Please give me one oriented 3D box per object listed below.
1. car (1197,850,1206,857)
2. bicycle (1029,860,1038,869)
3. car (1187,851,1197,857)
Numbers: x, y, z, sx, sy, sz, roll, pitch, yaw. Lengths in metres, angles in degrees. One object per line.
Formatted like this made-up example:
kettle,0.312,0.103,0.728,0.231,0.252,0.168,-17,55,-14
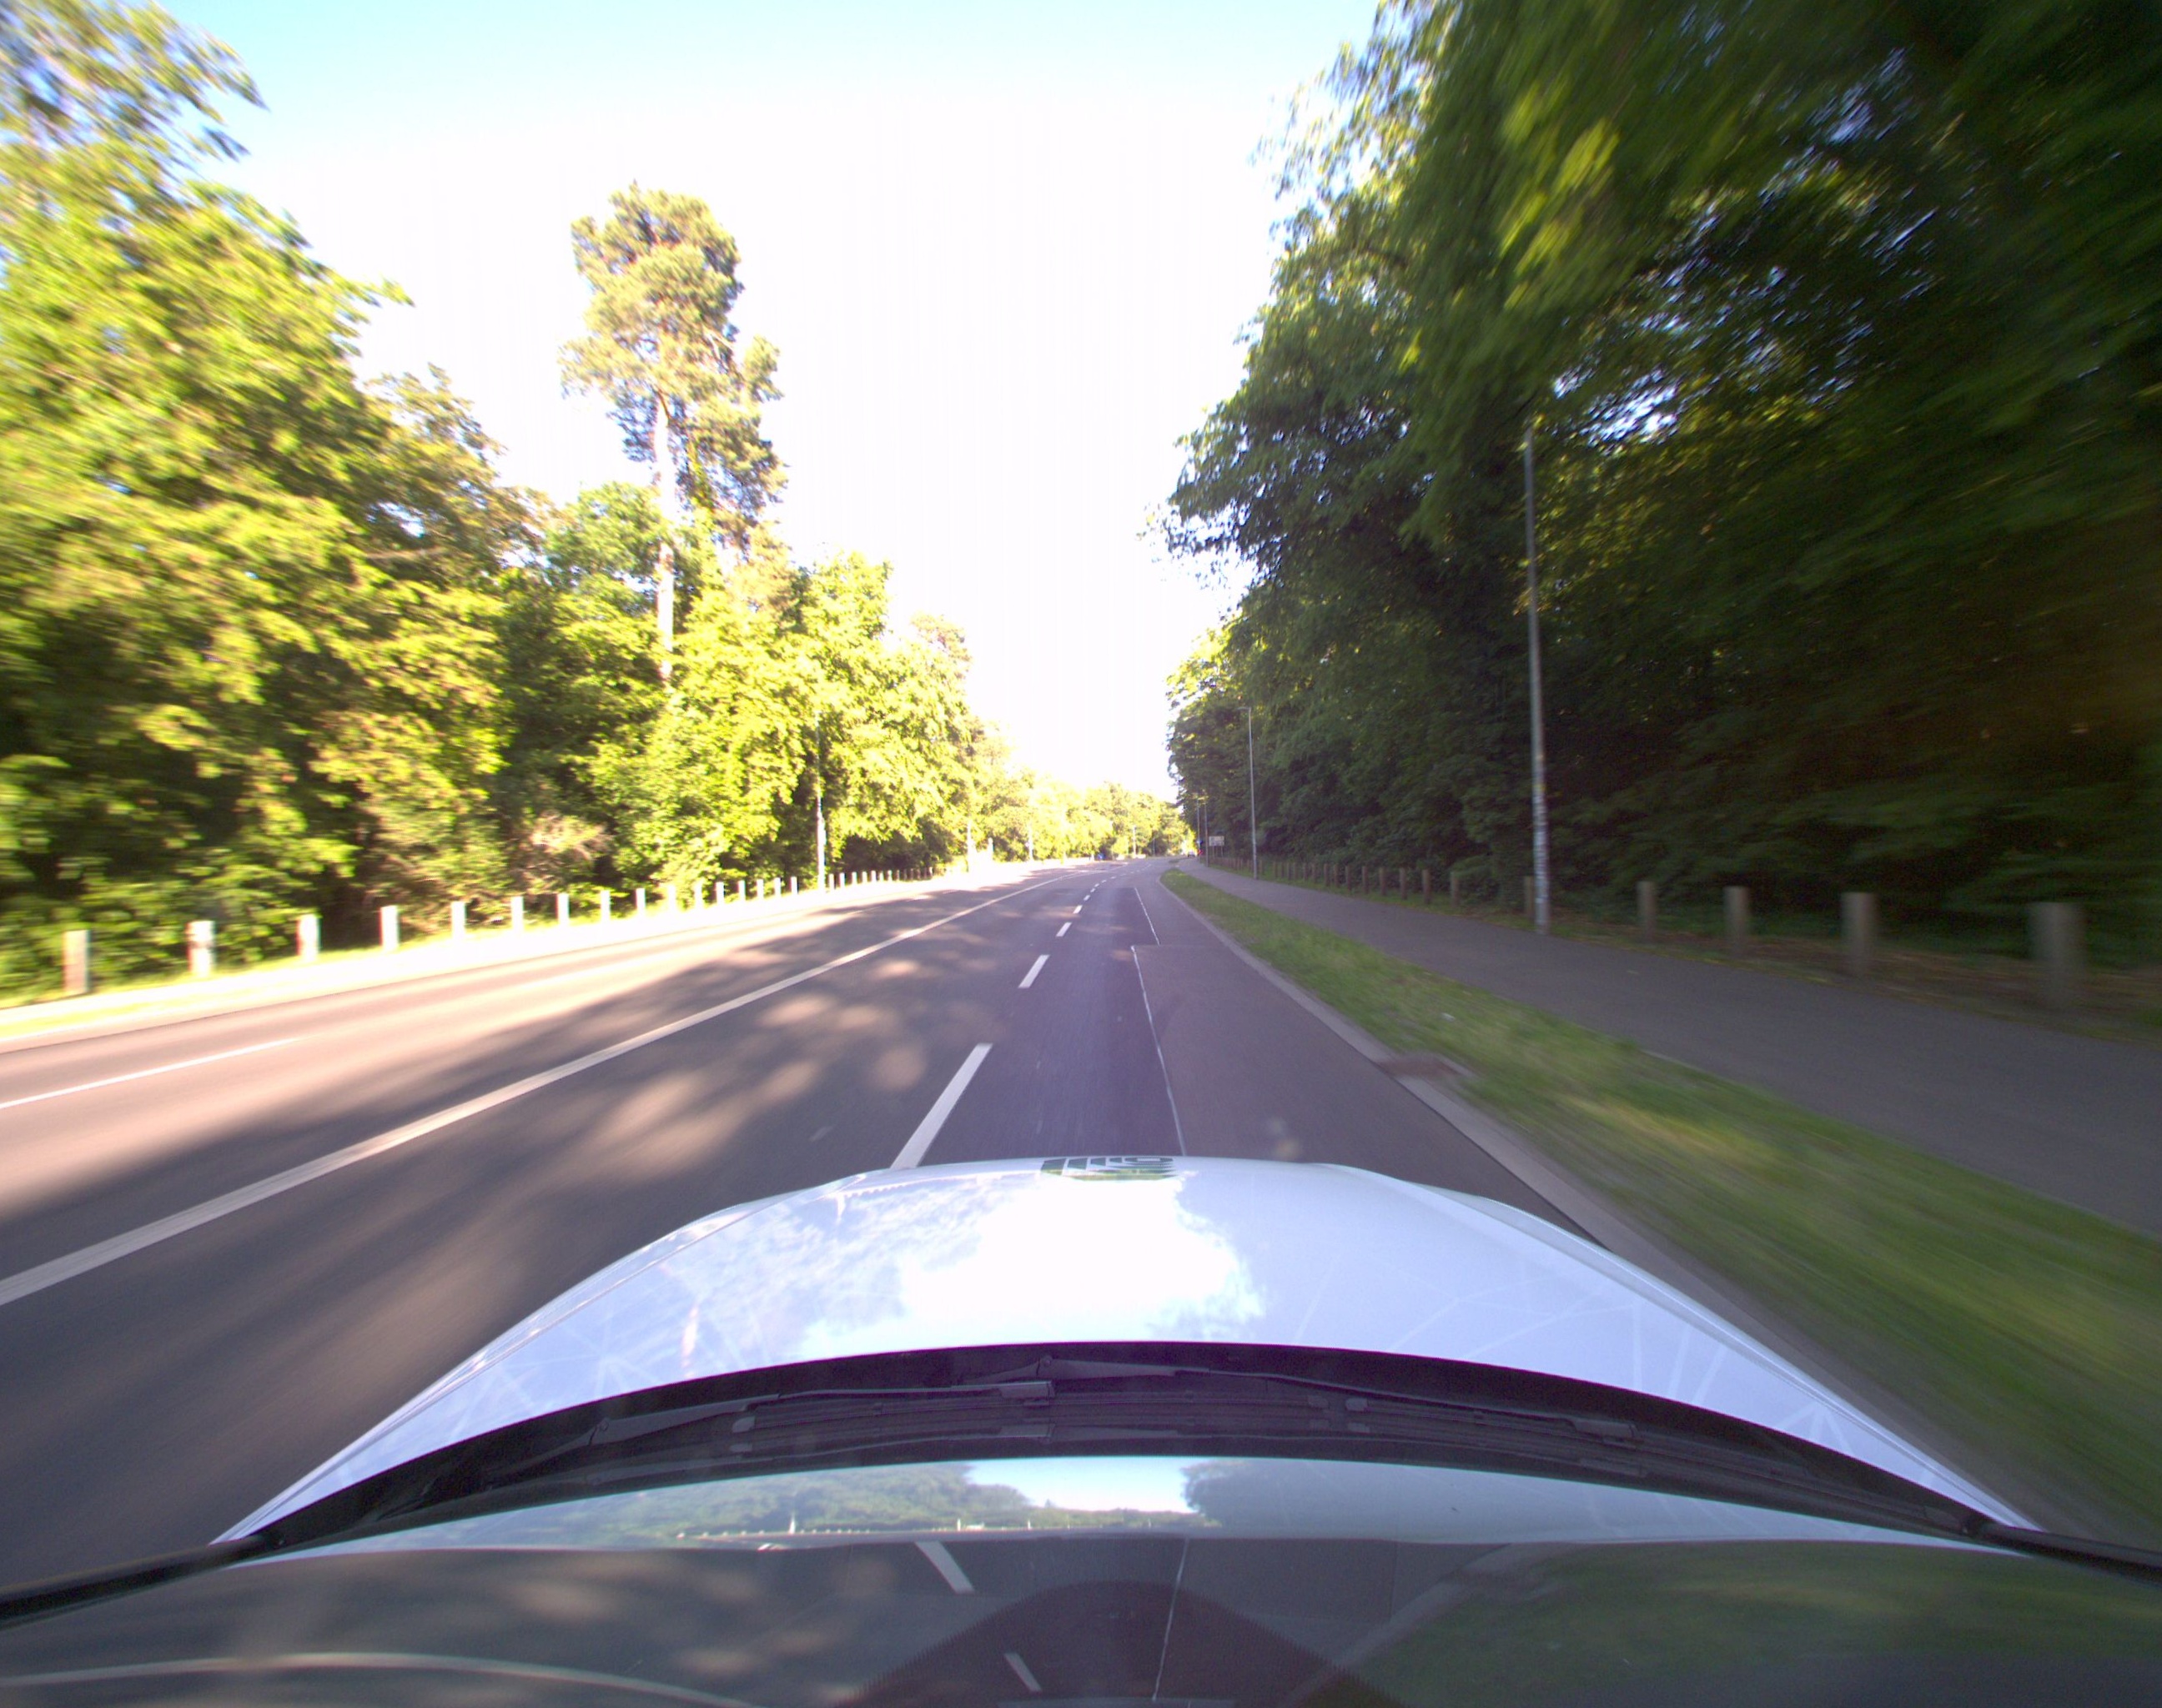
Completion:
car,34.863,-0.085,235.972,1.865,1.765,4.020,-2,0,19
bicycle,-6.128,1.292,104.633,0.398,1.132,2.229,0,0,16
car,30.577,0.006,223.547,1.865,1.709,4.020,-2,0,19
